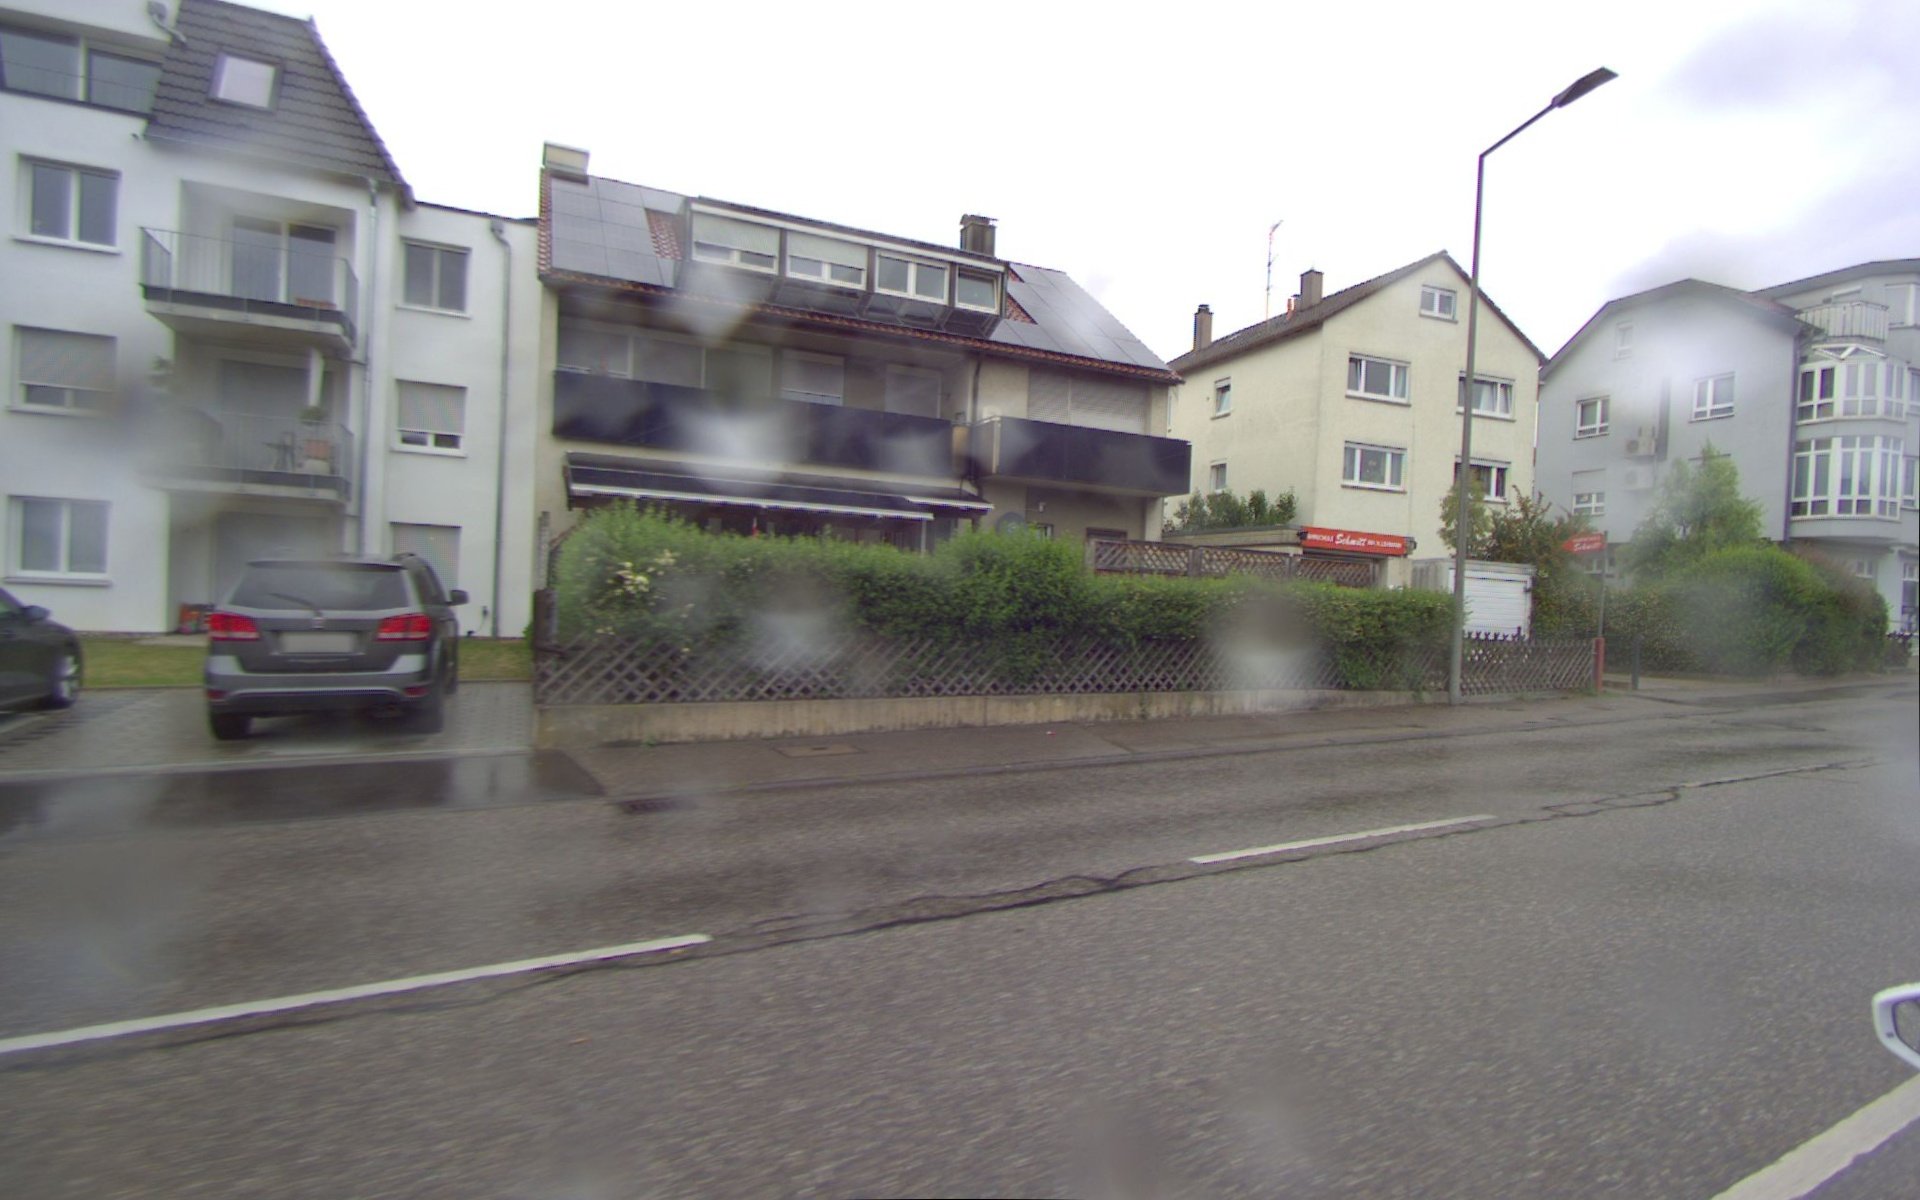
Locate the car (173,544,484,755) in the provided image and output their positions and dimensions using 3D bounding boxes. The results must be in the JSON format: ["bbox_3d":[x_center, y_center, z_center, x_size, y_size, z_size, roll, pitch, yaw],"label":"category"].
[{"bbox_3d":[-6.186,0.337,10.430,1.971,1.683,4.447,1,2,-22],"label":"car"}]

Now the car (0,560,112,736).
[{"bbox_3d":[-9.158,0.386,8.637,1.788,1.461,4.014,1,2,-24],"label":"car"}]
